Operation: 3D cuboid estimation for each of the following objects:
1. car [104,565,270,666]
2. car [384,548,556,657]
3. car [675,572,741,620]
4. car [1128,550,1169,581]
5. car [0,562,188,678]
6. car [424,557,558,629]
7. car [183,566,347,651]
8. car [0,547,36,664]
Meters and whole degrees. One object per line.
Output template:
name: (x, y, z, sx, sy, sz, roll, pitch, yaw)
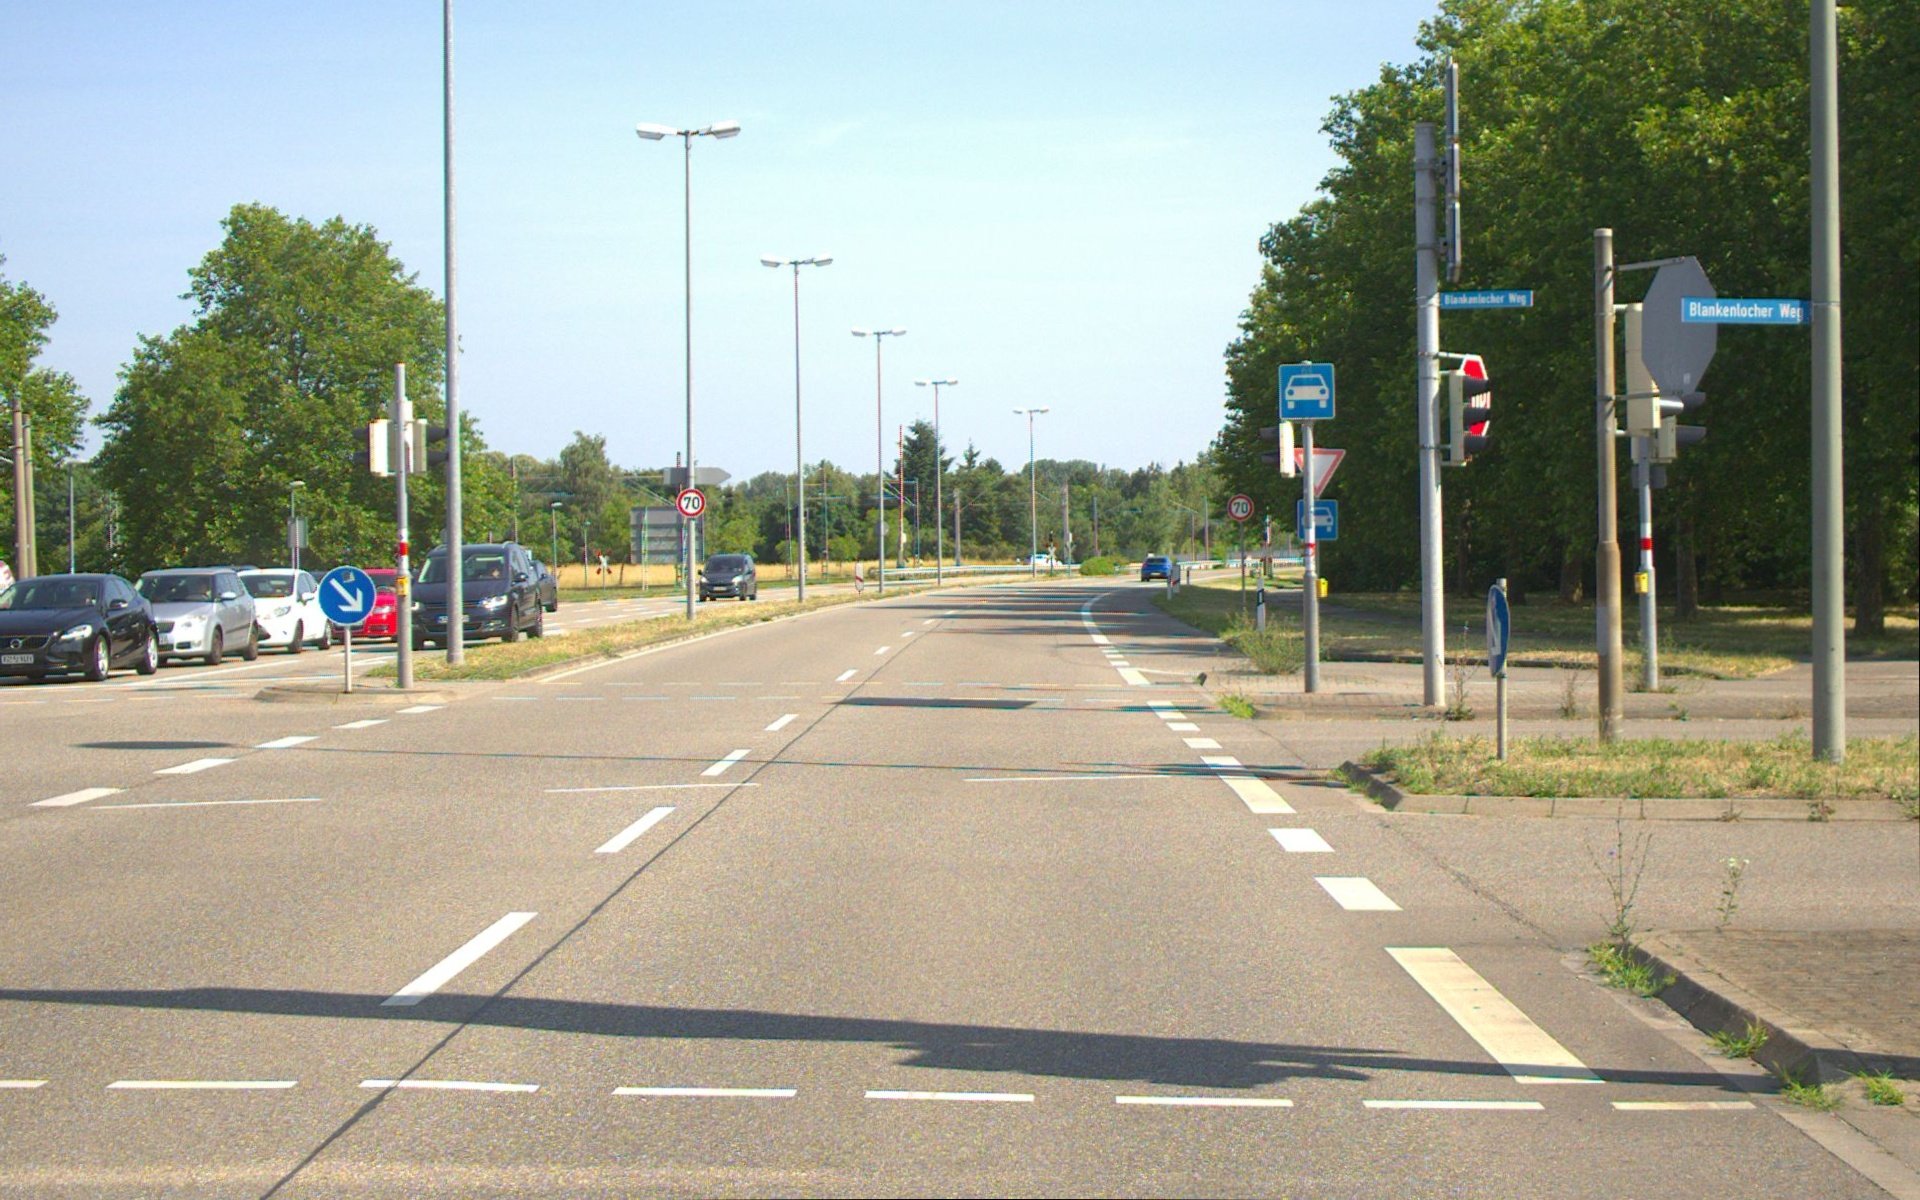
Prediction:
car: (-11.769, 0.212, 52.580, 1.619, 1.452, 3.871, -1, 1, 0)
car: (-8.171, 0.012, 57.724, 1.981, 1.744, 4.507, -1, 1, 3)
car: (-9.530, -0.166, 130.487, 1.981, 1.773, 4.489, -1, 1, 2)
car: (10.574, -1.954, 192.963, 1.993, 1.678, 4.000, -1, 1, -1)
car: (-11.866, 0.235, 45.684, 1.981, 1.452, 4.332, -1, 1, 3)
car: (-9.951, -0.172, 73.308, 1.981, 1.452, 4.450, -1, 1, 3)
car: (-11.926, 0.121, 59.204, 1.829, 1.381, 3.843, -1, 1, 3)
car: (-15.332, 0.112, 51.930, 1.704, 1.763, 4.230, -2, 1, -2)
